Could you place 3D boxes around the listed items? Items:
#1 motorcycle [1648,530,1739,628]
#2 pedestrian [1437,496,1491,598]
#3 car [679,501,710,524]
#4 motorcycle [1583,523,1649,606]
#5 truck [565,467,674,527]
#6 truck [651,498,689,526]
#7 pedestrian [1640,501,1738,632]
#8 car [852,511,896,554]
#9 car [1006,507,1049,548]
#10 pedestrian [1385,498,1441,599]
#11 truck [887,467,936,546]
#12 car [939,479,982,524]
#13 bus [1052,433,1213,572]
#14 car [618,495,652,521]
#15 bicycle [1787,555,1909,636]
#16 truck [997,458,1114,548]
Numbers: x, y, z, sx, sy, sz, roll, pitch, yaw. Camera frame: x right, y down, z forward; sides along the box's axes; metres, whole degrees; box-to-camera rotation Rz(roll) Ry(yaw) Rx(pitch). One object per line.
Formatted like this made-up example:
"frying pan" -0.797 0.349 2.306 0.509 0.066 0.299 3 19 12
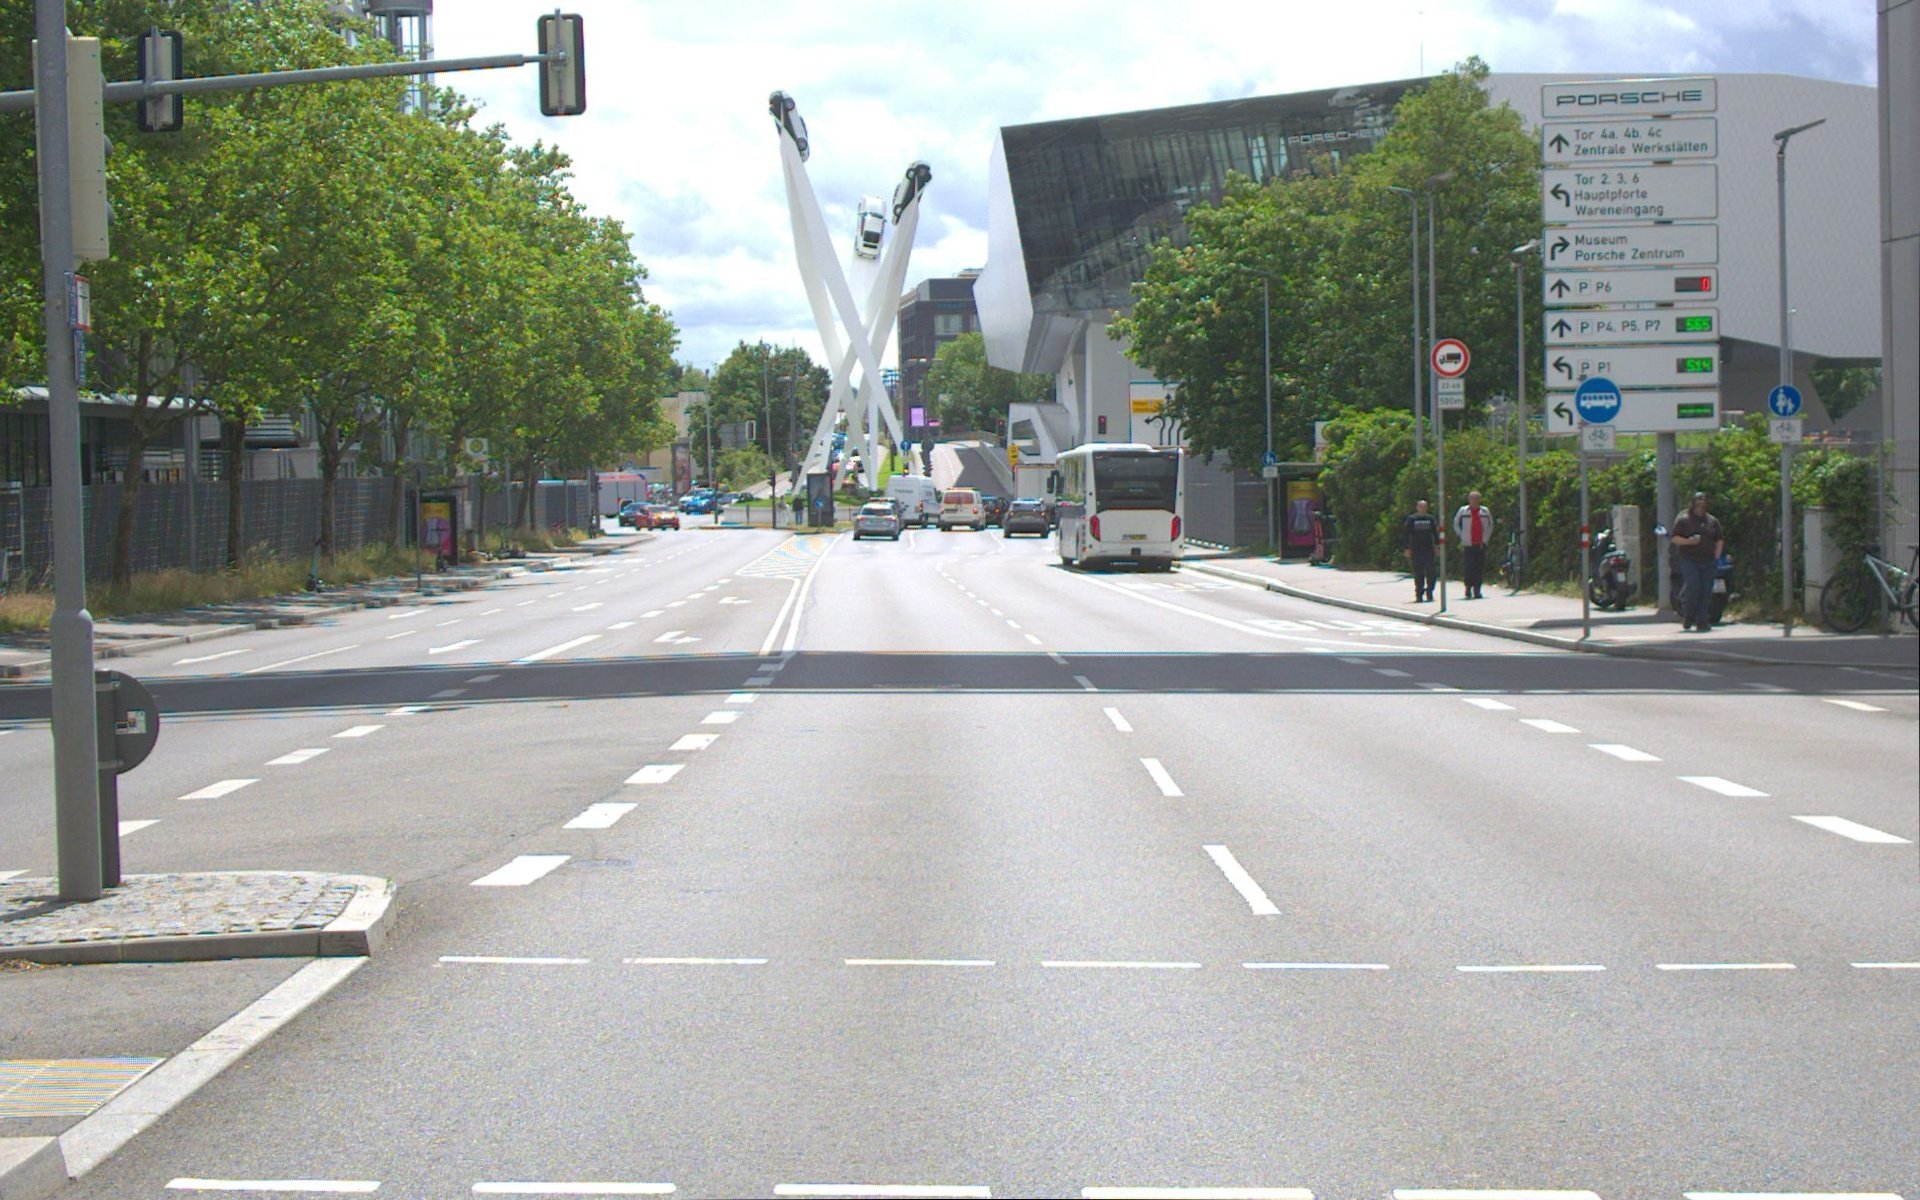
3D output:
"motorcycle" 9.601 -0.293 45.045 0.706 1.199 2.024 -2 2 -1
"pedestrian" 8.611 -0.911 58.750 0.820 1.735 0.637 0 1 -1
"car" -17.936 -5.904 232.394 1.818 1.532 3.679 -2 1 -1
"motorcycle" 10.081 -0.557 52.902 0.574 1.199 2.024 -2 2 -1
"truck" -23.242 -7.012 234.770 7.058 3.880 2.485 1 0 -37
"truck" -16.162 -4.897 191.640 1.583 1.532 3.680 0 1 -13
"pedestrian" 9.117 -0.428 42.994 0.849 1.619 0.954 1 1 41
"car" -3.500 -2.739 139.751 1.738 1.735 3.691 0 1 -1
"car" 2.857 -3.067 146.030 1.738 1.735 3.691 0 1 -1
"pedestrian" 7.712 -0.882 58.556 0.820 1.701 0.881 0 1 -1
"truck" -2.434 -4.649 172.244 2.392 3.884 6.177 0 1 -1
"car" 0.046 -4.710 165.305 1.993 2.007 4.000 1 0 1
"bus" 4.525 -2.586 92.752 3.452 3.531 10.607 0 1 -2
"car" -20.423 -5.793 216.027 1.818 1.532 3.679 -2 1 -1
"bicycle" 10.608 -0.069 41.126 0.397 0.933 1.929 0 1 -19
"truck" 4.836 -4.805 171.786 3.455 4.376 9.412 0 1 17
